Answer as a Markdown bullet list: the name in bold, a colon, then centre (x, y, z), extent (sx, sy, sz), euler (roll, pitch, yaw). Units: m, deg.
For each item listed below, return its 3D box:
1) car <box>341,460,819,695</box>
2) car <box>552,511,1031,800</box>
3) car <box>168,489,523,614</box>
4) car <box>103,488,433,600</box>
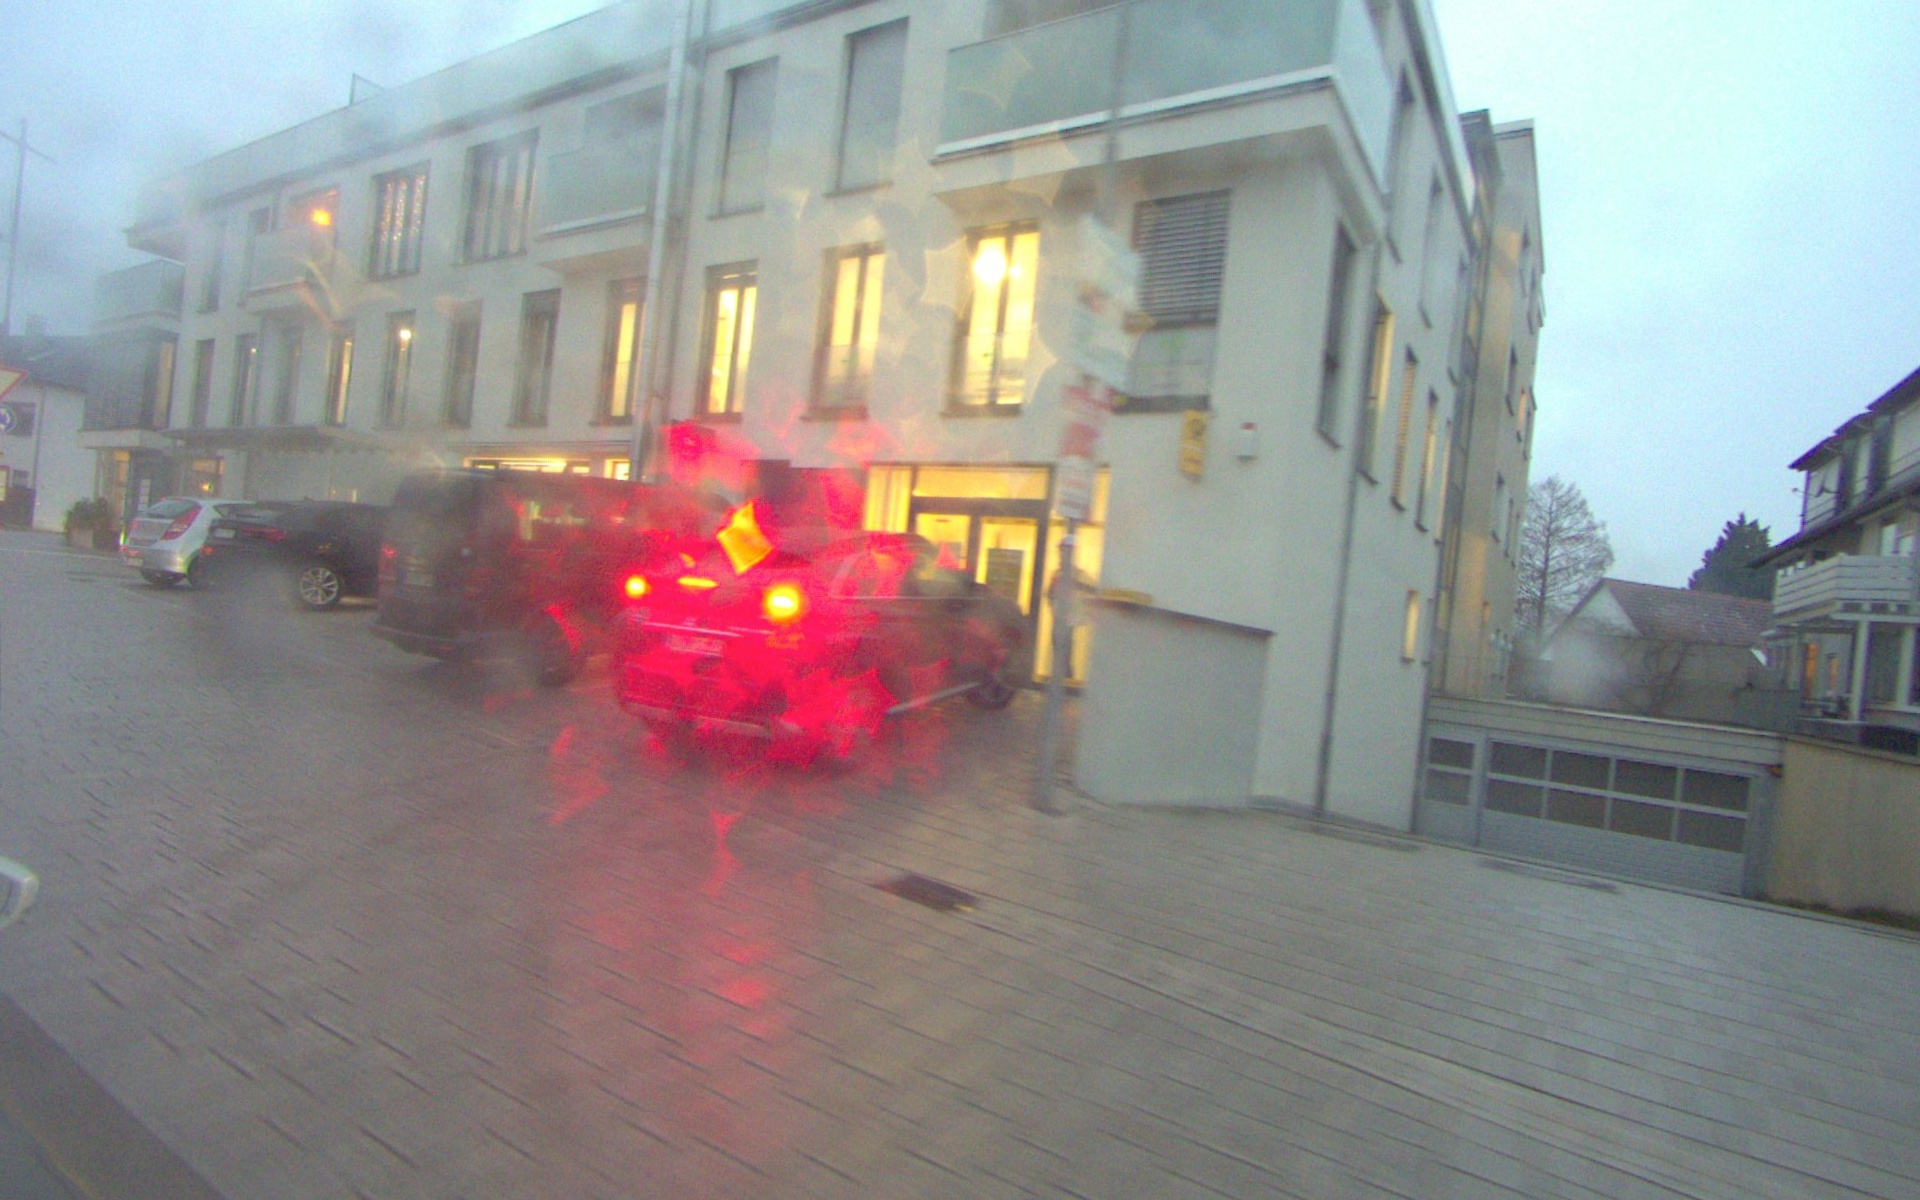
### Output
- **car**: centre (-3.772, -0.287, 10.827), extent (1.918, 1.948, 4.558), euler (6, 4, 32)
- **car**: centre (-1.075, 0.214, 8.395), extent (1.772, 1.664, 4.174), euler (7, 6, 26)
- **car**: centre (-9.007, -0.641, 15.158), extent (1.762, 1.479, 4.209), euler (6, 2, 28)
- **car**: centre (-11.466, -0.866, 16.998), extent (1.762, 1.479, 4.209), euler (6, 2, 28)
